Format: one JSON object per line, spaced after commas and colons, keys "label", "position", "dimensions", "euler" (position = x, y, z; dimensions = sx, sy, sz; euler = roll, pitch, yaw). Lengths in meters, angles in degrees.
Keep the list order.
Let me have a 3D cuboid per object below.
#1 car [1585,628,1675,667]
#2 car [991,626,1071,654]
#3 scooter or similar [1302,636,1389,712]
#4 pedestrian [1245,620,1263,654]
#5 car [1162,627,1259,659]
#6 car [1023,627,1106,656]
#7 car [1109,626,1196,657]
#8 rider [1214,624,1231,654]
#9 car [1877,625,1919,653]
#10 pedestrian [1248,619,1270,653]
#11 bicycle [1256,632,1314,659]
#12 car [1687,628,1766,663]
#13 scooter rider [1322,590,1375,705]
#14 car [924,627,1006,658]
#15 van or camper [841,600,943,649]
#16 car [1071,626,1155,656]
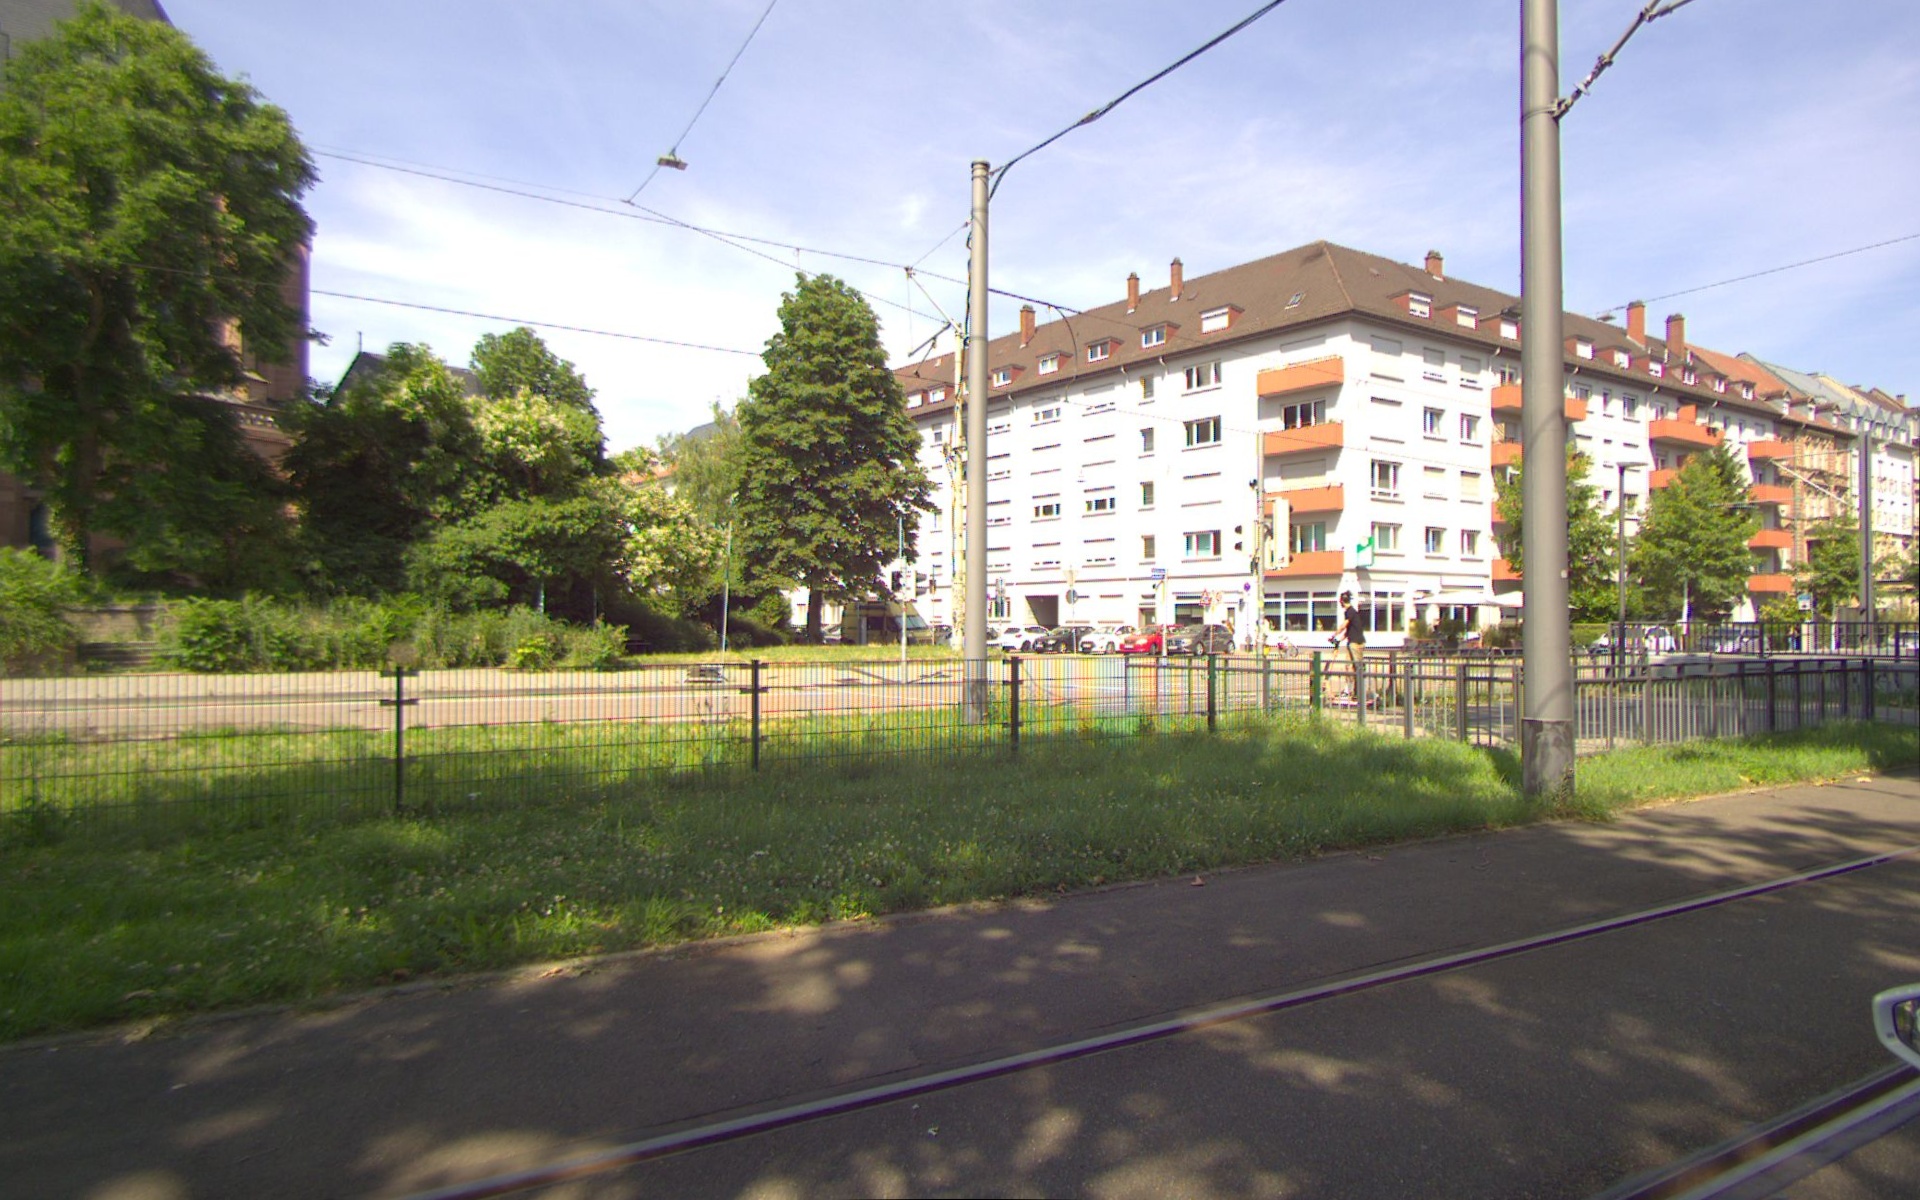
{"label": "car", "position": [27.351, 1.908, 40.981], "dimensions": [3.961, 1.518, 1.759], "euler": [1, -3, -36]}
{"label": "car", "position": [3.887, 2.141, 54.546], "dimensions": [4.129, 1.425, 1.917], "euler": [1, -1, -38]}
{"label": "scooter or similar", "position": [6.548, 1.233, 17.074], "dimensions": [1.251, 1.220, 0.654], "euler": [-1, -2, 40]}
{"label": "pedestrian", "position": [13.908, 1.735, 47.582], "dimensions": [0.679, 1.593, 0.544], "euler": [-1, -1, 36]}
{"label": "car", "position": [11.454, 1.925, 45.798], "dimensions": [4.598, 1.394, 1.821], "euler": [1, -2, -36]}
{"label": "car", "position": [5.452, 2.116, 52.269], "dimensions": [4.129, 1.425, 1.918], "euler": [1, -2, -38]}
{"label": "car", "position": [9.285, 1.979, 48.391], "dimensions": [4.129, 1.425, 1.918], "euler": [1, -2, -38]}
{"label": "rider", "position": [12.825, 1.887, 49.120], "dimensions": [0.616, 1.442, 0.587], "euler": [-1, -1, 44]}
{"label": "car", "position": [53.026, 2.180, 56.241], "dimensions": [3.961, 1.518, 1.758], "euler": [1, -2, -36]}
{"label": "pedestrian", "position": [14.303, 1.712, 48.076], "dimensions": [0.846, 1.593, 0.688], "euler": [-1, -1, 36]}
{"label": "bicycle", "position": [14.216, 1.964, 43.933], "dimensions": [2.779, 1.152, 0.905], "euler": [1, -1, -34]}
{"label": "car", "position": [34.617, 2.040, 45.354], "dimensions": [3.961, 1.518, 1.759], "euler": [1, -3, -36]}
{"label": "scooter rider", "position": [6.589, 0.793, 17.048], "dimensions": [0.659, 1.891, 0.661], "euler": [-1, -1, 40]}
{"label": "car", "position": [0.225, 1.973, 47.634], "dimensions": [3.702, 1.425, 1.823], "euler": [-1, -2, 44]}
{"label": "van or camper", "position": [-3.607, 1.267, 52.025], "dimensions": [2.228, 2.360, 5.704], "euler": [1, -2, -42]}
{"label": "car", "position": [7.742, 2.036, 50.706], "dimensions": [4.129, 1.425, 1.918], "euler": [1, -2, -38]}
